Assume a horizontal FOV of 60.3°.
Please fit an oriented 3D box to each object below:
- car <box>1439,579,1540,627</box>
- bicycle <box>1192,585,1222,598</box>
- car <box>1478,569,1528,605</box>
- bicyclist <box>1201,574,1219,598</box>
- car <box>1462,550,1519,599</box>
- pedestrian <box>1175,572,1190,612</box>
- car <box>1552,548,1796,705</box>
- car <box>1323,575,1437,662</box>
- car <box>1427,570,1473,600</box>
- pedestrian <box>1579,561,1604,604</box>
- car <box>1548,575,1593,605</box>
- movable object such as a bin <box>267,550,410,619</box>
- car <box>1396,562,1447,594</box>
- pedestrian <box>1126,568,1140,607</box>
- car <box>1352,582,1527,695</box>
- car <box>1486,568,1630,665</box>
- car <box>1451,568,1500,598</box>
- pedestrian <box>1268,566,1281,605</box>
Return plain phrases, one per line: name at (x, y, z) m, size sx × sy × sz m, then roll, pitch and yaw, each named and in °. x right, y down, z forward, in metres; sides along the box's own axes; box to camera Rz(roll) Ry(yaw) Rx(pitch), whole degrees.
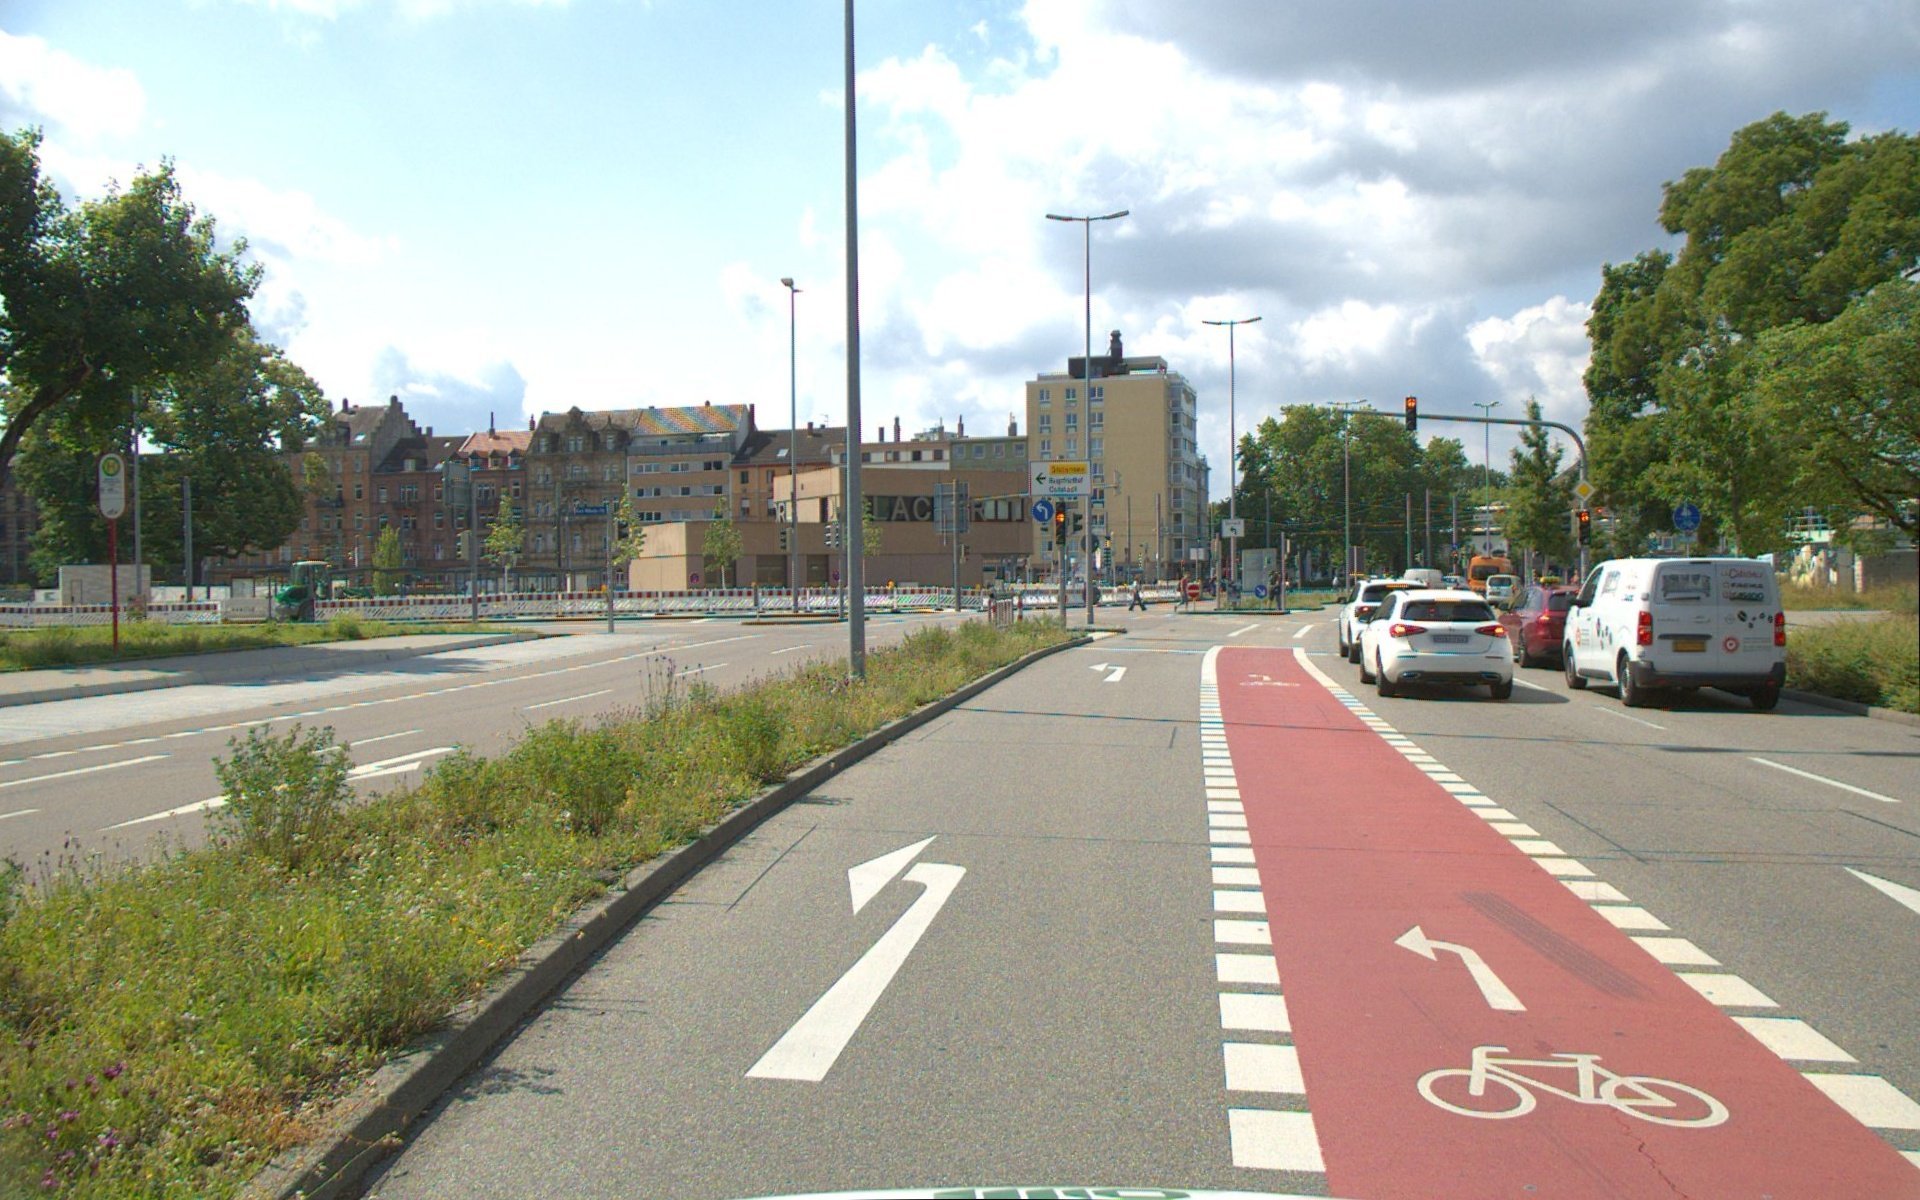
car at (22.319, 0.135, 69.671) m, size 3.951 × 1.847 × 1.977 m, roll 2°, pitch 1°, yaw -34°
bicycle at (20.250, -0.702, 135.564) m, size 2.334 × 1.085 × 0.857 m, roll -1°, pitch 0°, yaw 29°
car at (28.884, -0.707, 87.933) m, size 1.955 × 1.826 × 3.996 m, roll -1°, pitch 0°, yaw 27°
bicyclist at (20.459, -1.134, 135.452) m, size 1.196 × 1.943 × 0.857 m, roll -1°, pitch 0°, yaw 29°
car at (31.301, -1.505, 97.566) m, size 2.091 × 2.829 × 4.627 m, roll -1°, pitch 0°, yaw 32°
pedestrian at (9.861, -0.359, 73.241) m, size 0.513 × 1.763 × 0.624 m, roll -1°, pitch 0°, yaw 18°
car at (9.592, 0.291, 22.647) m, size 1.901 × 1.902 × 4.830 m, roll -1°, pitch 1°, yaw 9°
car at (8.161, 0.299, 32.392) m, size 1.753 × 1.566 × 4.015 m, roll 1°, pitch 1°, yaw 9°
car at (34.209, -1.071, 115.368) m, size 1.955 × 1.972 × 4.627 m, roll -1°, pitch 0°, yaw 32°
pedestrian at (22.822, -0.638, 59.779) m, size 0.753 × 1.534 × 0.552 m, roll 0°, pitch 1°, yaw 13°
car at (41.191, -0.682, 111.513) m, size 1.955 × 1.972 × 4.627 m, roll -1°, pitch 0°, yaw 32°
movable object such as a bin at (-27.567, -0.709, 73.462) m, size 5.488 × 2.935 × 2.256 m, roll -1°, pitch 0°, yaw -39°
car at (30.091, -1.434, 107.842) m, size 1.969 × 2.001 × 4.627 m, roll -1°, pitch 0°, yaw 32°
pedestrian at (7.852, -0.568, 74.954) m, size 0.513 × 1.763 × 0.624 m, roll -1°, pitch 0°, yaw 18°
car at (6.819, 0.487, 23.925) m, size 1.863 × 1.448 × 4.389 m, roll -1°, pitch 1°, yaw 9°
car at (11.011, 0.246, 30.744) m, size 1.645 × 1.669 × 4.467 m, roll 0°, pitch 1°, yaw 8°
car at (32.845, -1.099, 105.295) m, size 1.958 × 1.858 × 3.989 m, roll -1°, pitch 0°, yaw 33°
pedestrian at (14.019, -0.651, 73.722) m, size 0.513 × 1.713 × 0.624 m, roll -1°, pitch 0°, yaw 18°
